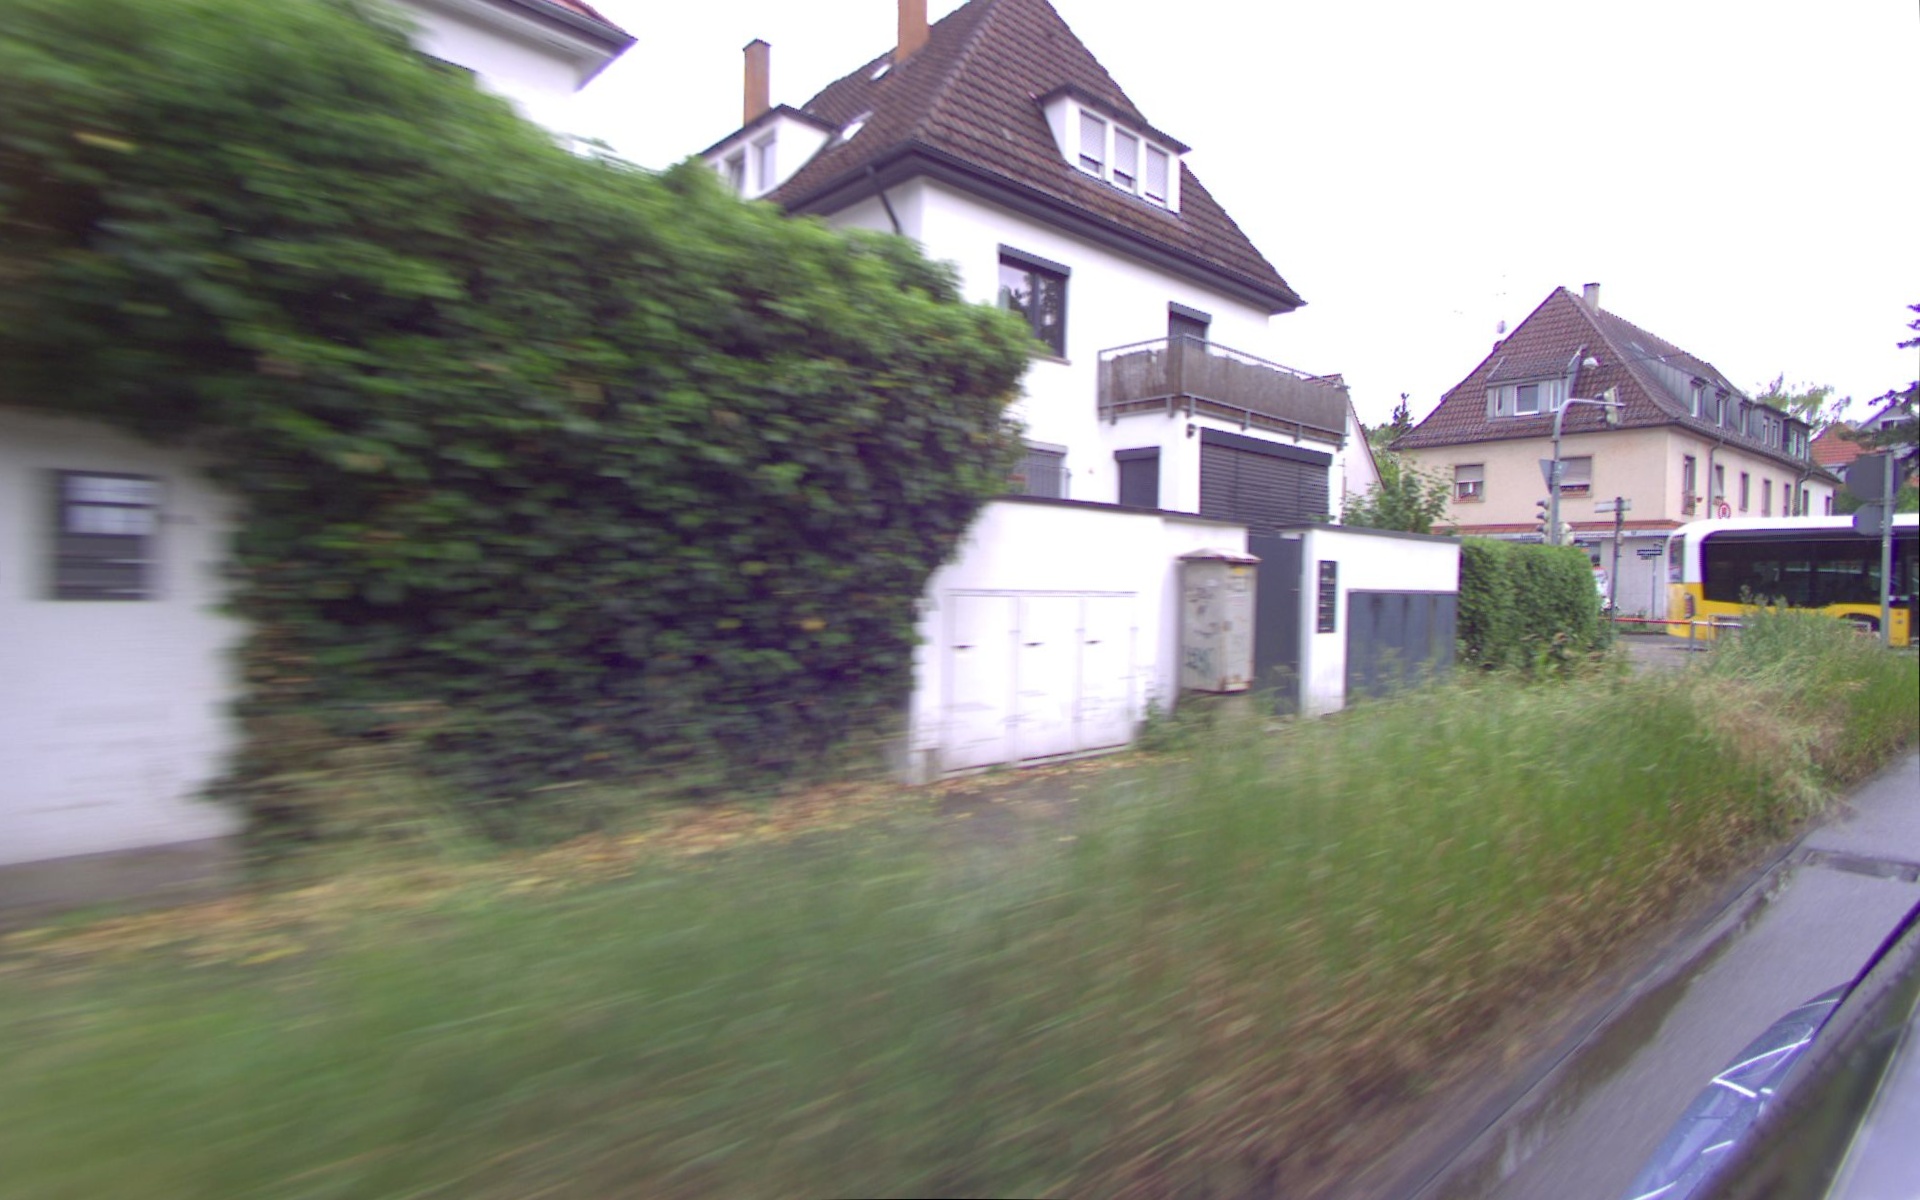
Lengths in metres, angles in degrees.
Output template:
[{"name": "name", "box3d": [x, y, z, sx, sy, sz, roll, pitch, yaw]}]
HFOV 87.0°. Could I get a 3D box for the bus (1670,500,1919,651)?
[{"name": "bus", "box3d": [22.437, -0.562, 24.197, 8.598, 3.441, 2.660, 1, 0, 28]}]
